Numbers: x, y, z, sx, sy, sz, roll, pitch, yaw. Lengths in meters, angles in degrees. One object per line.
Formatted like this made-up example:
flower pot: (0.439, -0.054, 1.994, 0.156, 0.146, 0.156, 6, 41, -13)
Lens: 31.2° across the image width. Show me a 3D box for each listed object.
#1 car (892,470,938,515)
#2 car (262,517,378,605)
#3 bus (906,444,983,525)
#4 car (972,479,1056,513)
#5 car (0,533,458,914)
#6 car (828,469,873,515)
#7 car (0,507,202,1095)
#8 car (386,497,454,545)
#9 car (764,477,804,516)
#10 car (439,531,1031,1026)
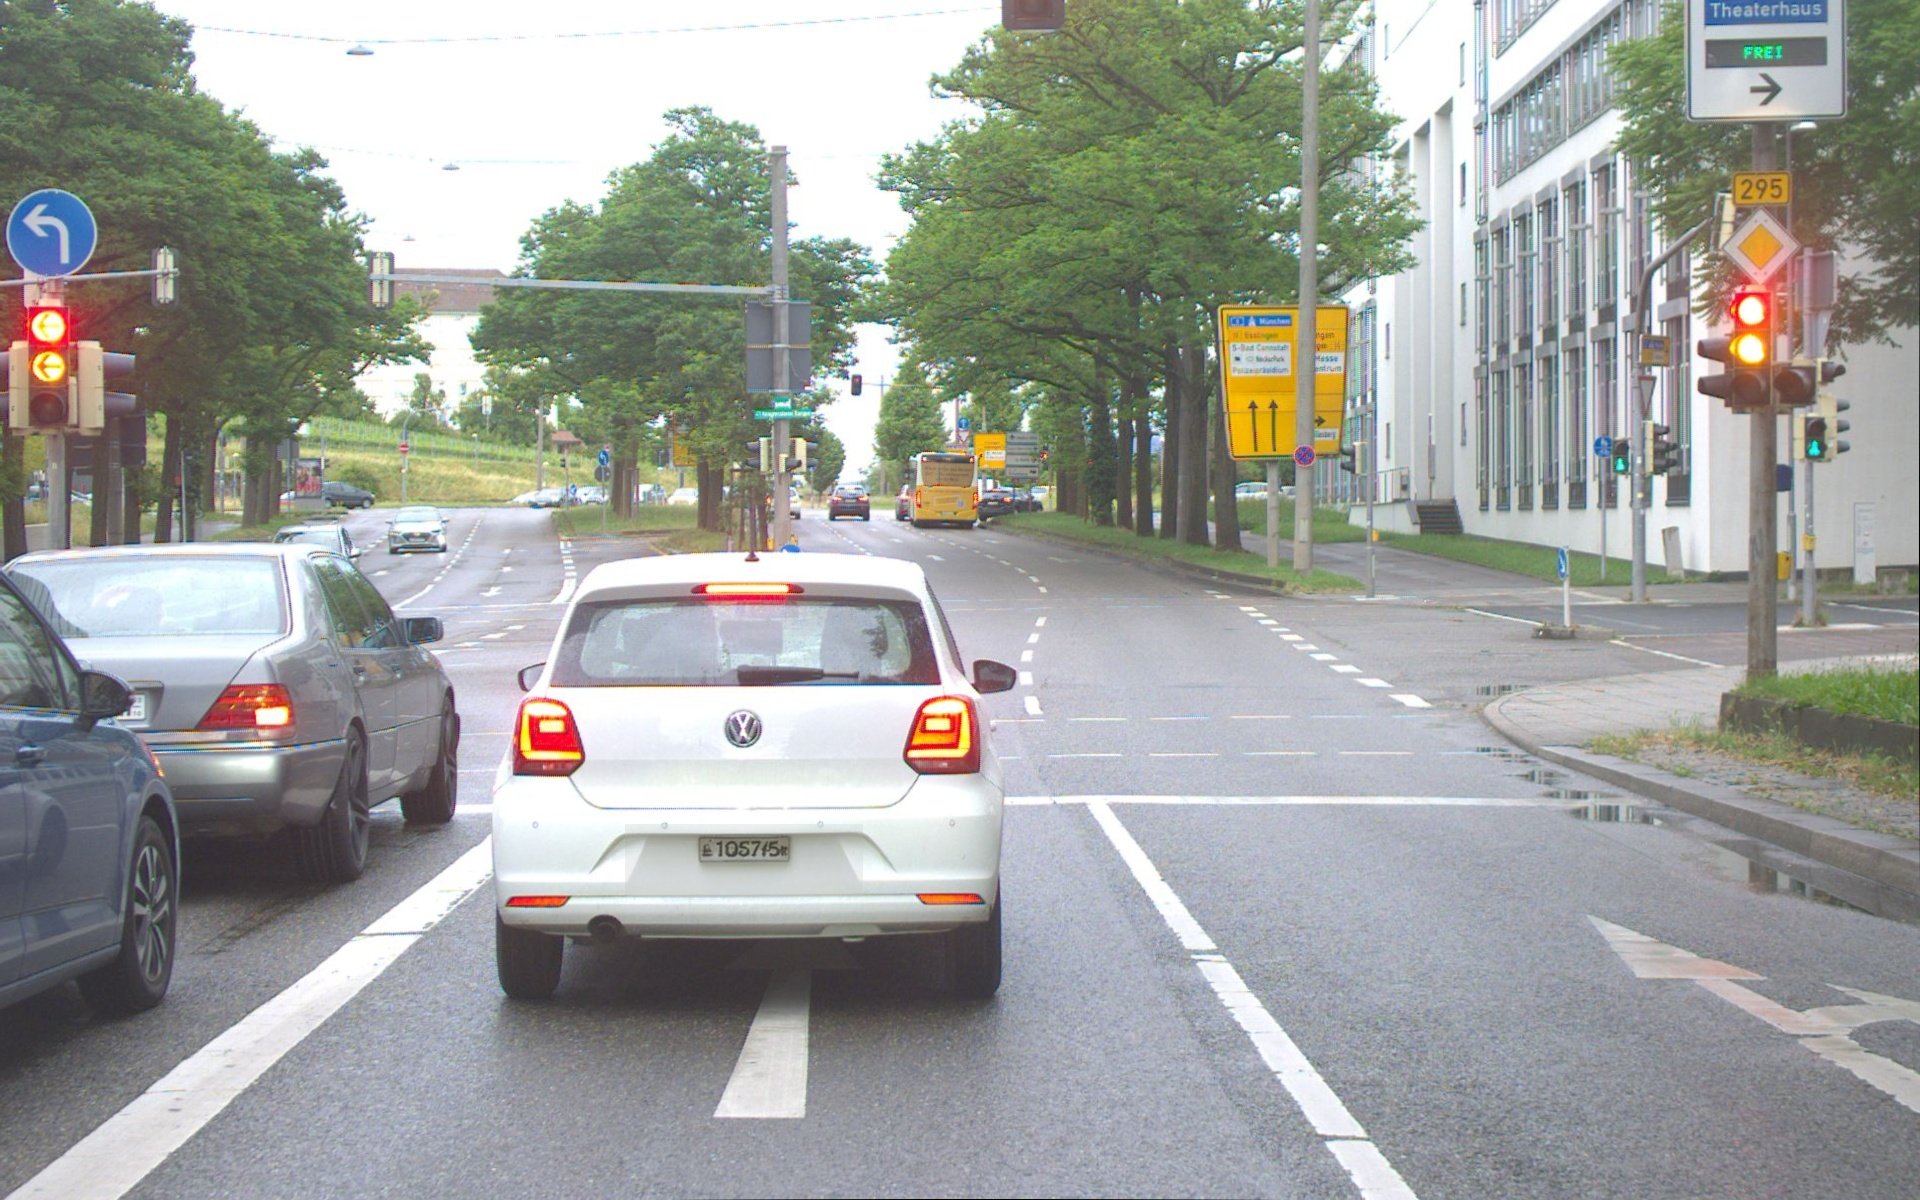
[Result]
car: (-2.082, -4.920, 157.685, 1.993, 2.007, 4.001, -1, 1, -3)
car: (-11.930, -0.758, 64.246, 1.750, 1.515, 3.818, -2, 2, -5)
bus: (-0.715, -4.887, 144.228, 2.828, 3.255, 10.002, 0, 2, -3)
car: (2.471, -4.737, 156.637, 1.699, 1.510, 3.818, 0, 2, 43)
car: (-3.565, 0.468, 15.938, 1.847, 1.505, 4.048, -1, 1, 0)
car: (-5.003, -4.921, 156.848, 1.993, 2.007, 4.001, -1, 1, -3)
car: (-3.491, 0.554, 9.522, 1.772, 1.591, 4.197, -1, 1, 1)
car: (-17.337, -2.560, 110.579, 1.814, 1.406, 4.657, -2, 2, -5)
car: (-8.116, -4.772, 158.316, 1.794, 1.735, 4.001, -1, 2, -3)
car: (-0.733, 0.505, 12.452, 1.794, 1.497, 4.000, 0, 1, -1)
